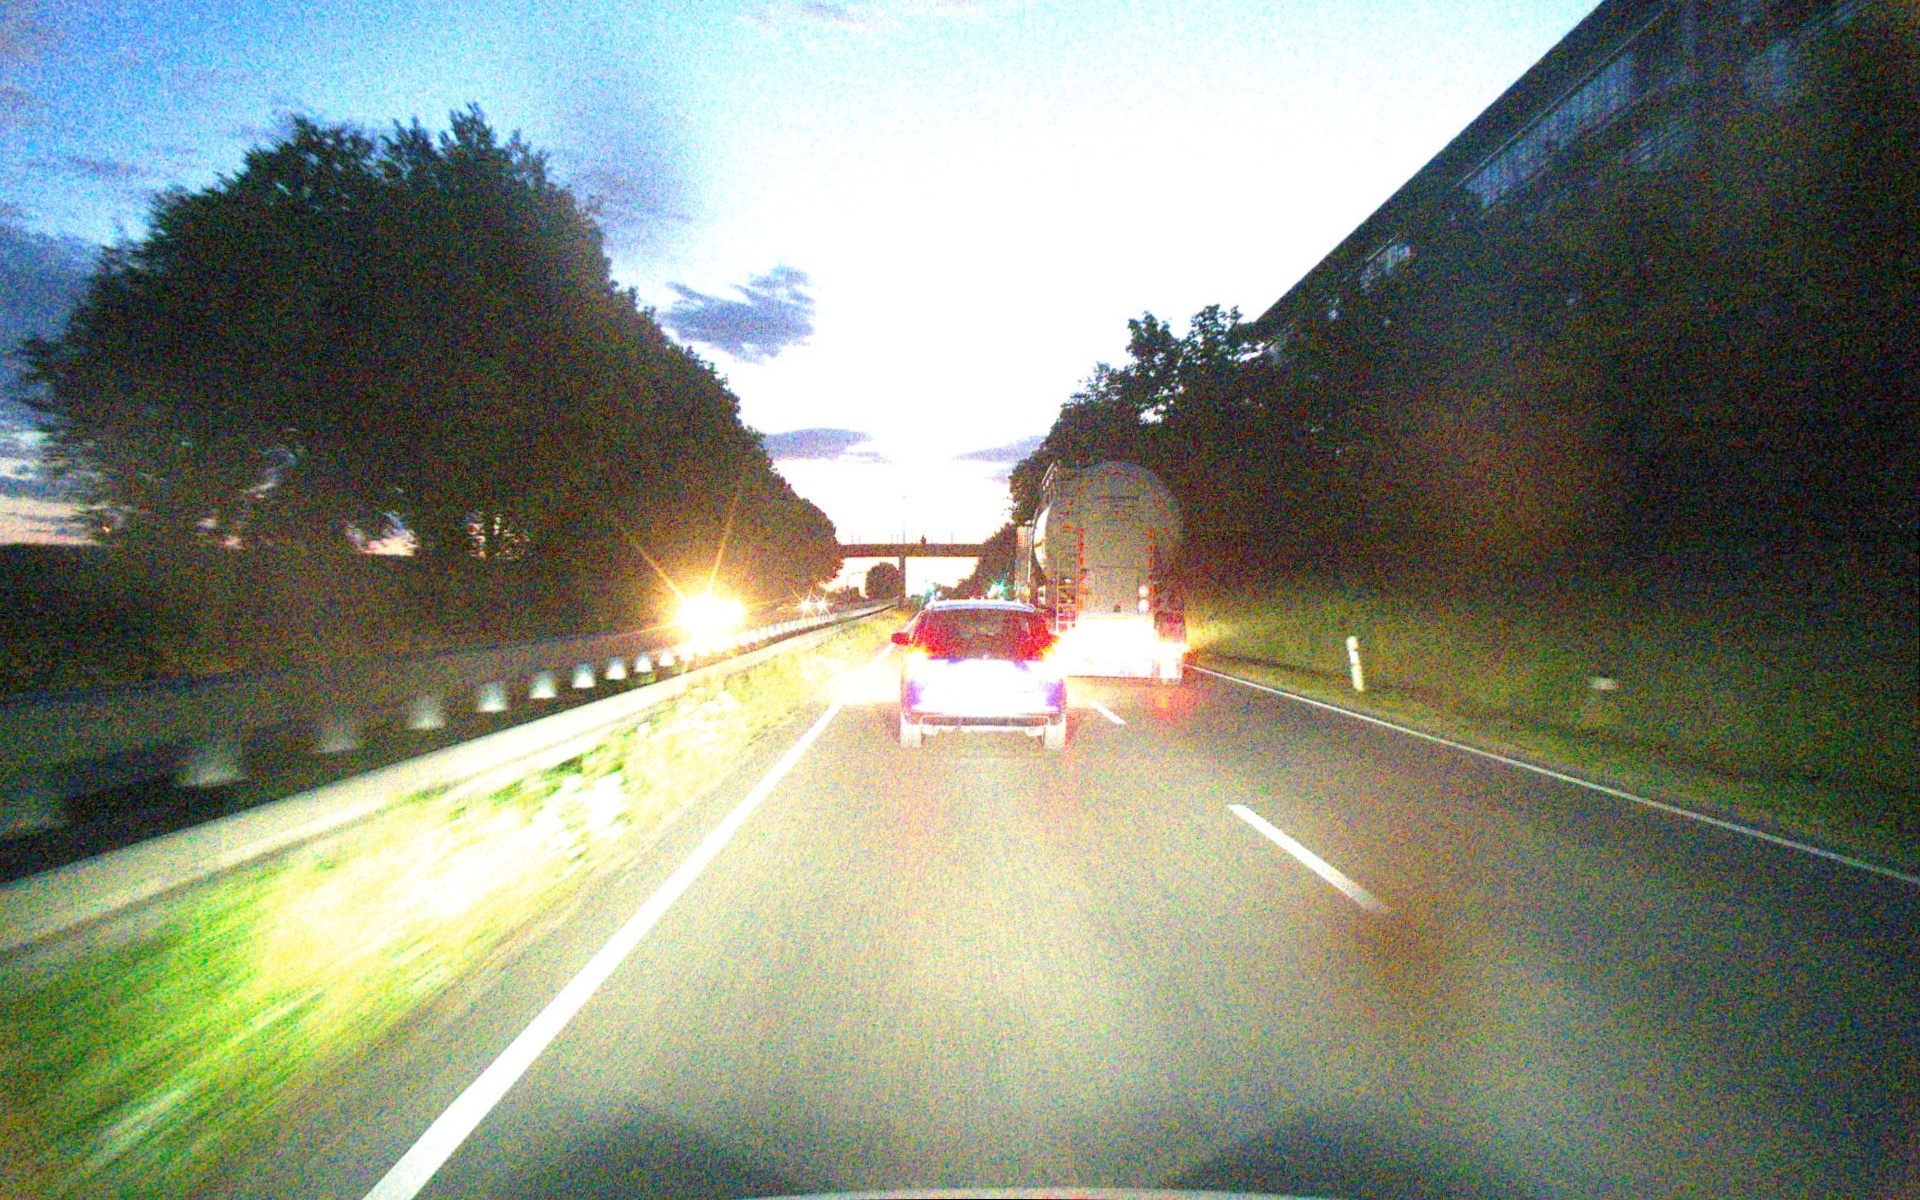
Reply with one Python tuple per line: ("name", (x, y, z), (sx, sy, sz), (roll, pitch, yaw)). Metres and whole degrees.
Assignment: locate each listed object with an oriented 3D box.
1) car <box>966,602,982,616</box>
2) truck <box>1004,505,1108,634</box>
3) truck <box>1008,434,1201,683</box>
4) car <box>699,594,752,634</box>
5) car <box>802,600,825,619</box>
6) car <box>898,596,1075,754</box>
("car", (1.546, 1.029, 183.510), (1.661, 1.478, 3.913), (1, 0, -1))
("truck", (3.331, -0.982, 60.782), (2.824, 4.178, 12.680), (1, 0, -1))
("truck", (2.634, -0.684, 34.554), (2.633, 4.178, 13.138), (1, 0, -1))
("car", (-9.698, 0.554, 68.548), (1.648, 1.615, 4.166), (1, 0, -1))
("car", (-12.153, 0.778, 137.645), (1.584, 1.533, 3.868), (1, 0, -1))
("car", (0.223, 0.715, 17.598), (1.661, 1.478, 3.913), (1, 0, -1))
